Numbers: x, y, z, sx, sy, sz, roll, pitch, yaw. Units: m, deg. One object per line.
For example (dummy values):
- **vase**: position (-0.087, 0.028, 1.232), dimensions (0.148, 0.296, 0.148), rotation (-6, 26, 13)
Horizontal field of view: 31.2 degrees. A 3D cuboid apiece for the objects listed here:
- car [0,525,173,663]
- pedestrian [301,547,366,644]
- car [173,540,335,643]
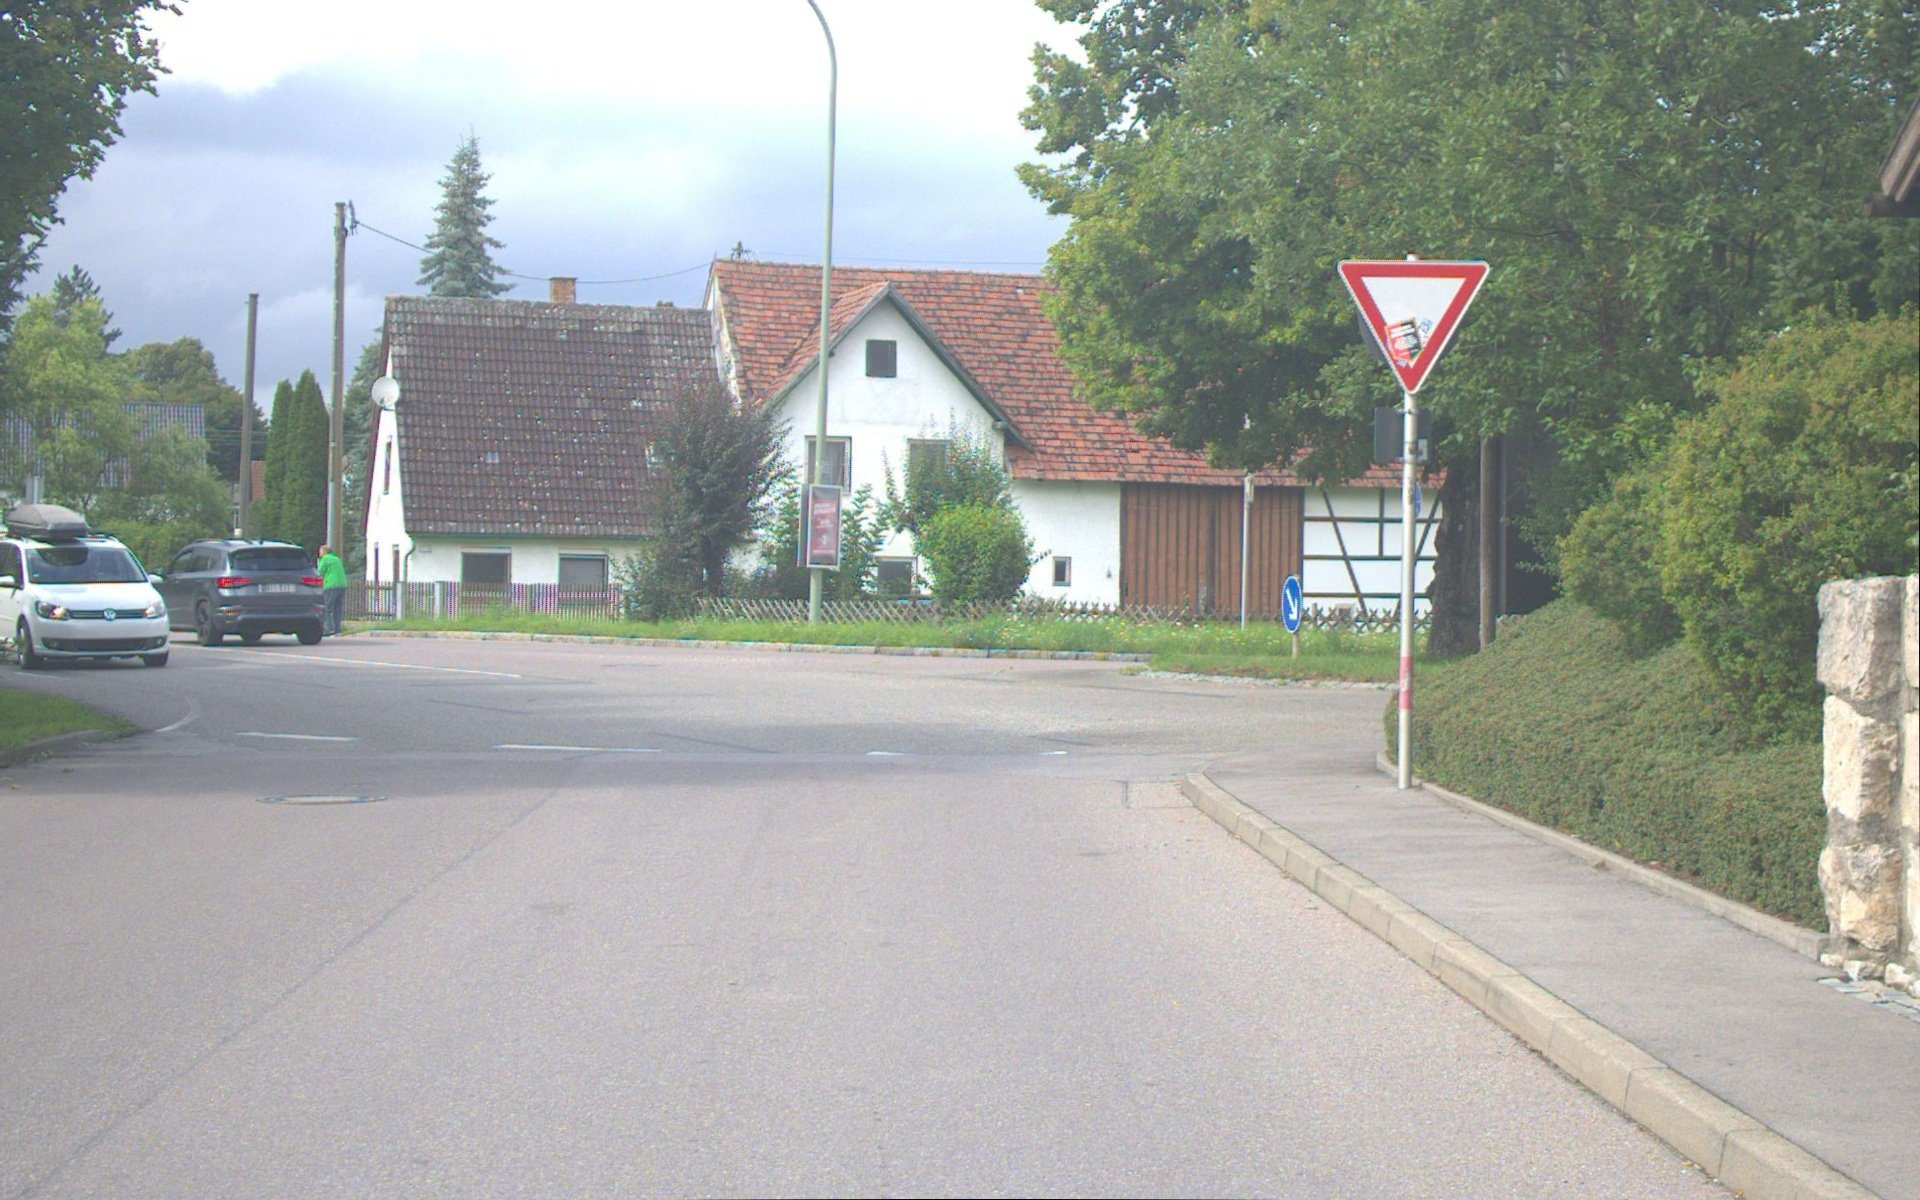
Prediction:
- **car**: position (-11.267, -0.099, 43.651), dimensions (1.698, 1.659, 4.033), rotation (0, 1, -24)
- **pedestrian**: position (-11.298, -0.081, 61.956), dimensions (0.788, 1.659, 0.712), rotation (6, -2, -33)
- **car**: position (-10.707, -0.151, 51.976), dimensions (1.798, 1.457, 3.663), rotation (1, 1, -21)
